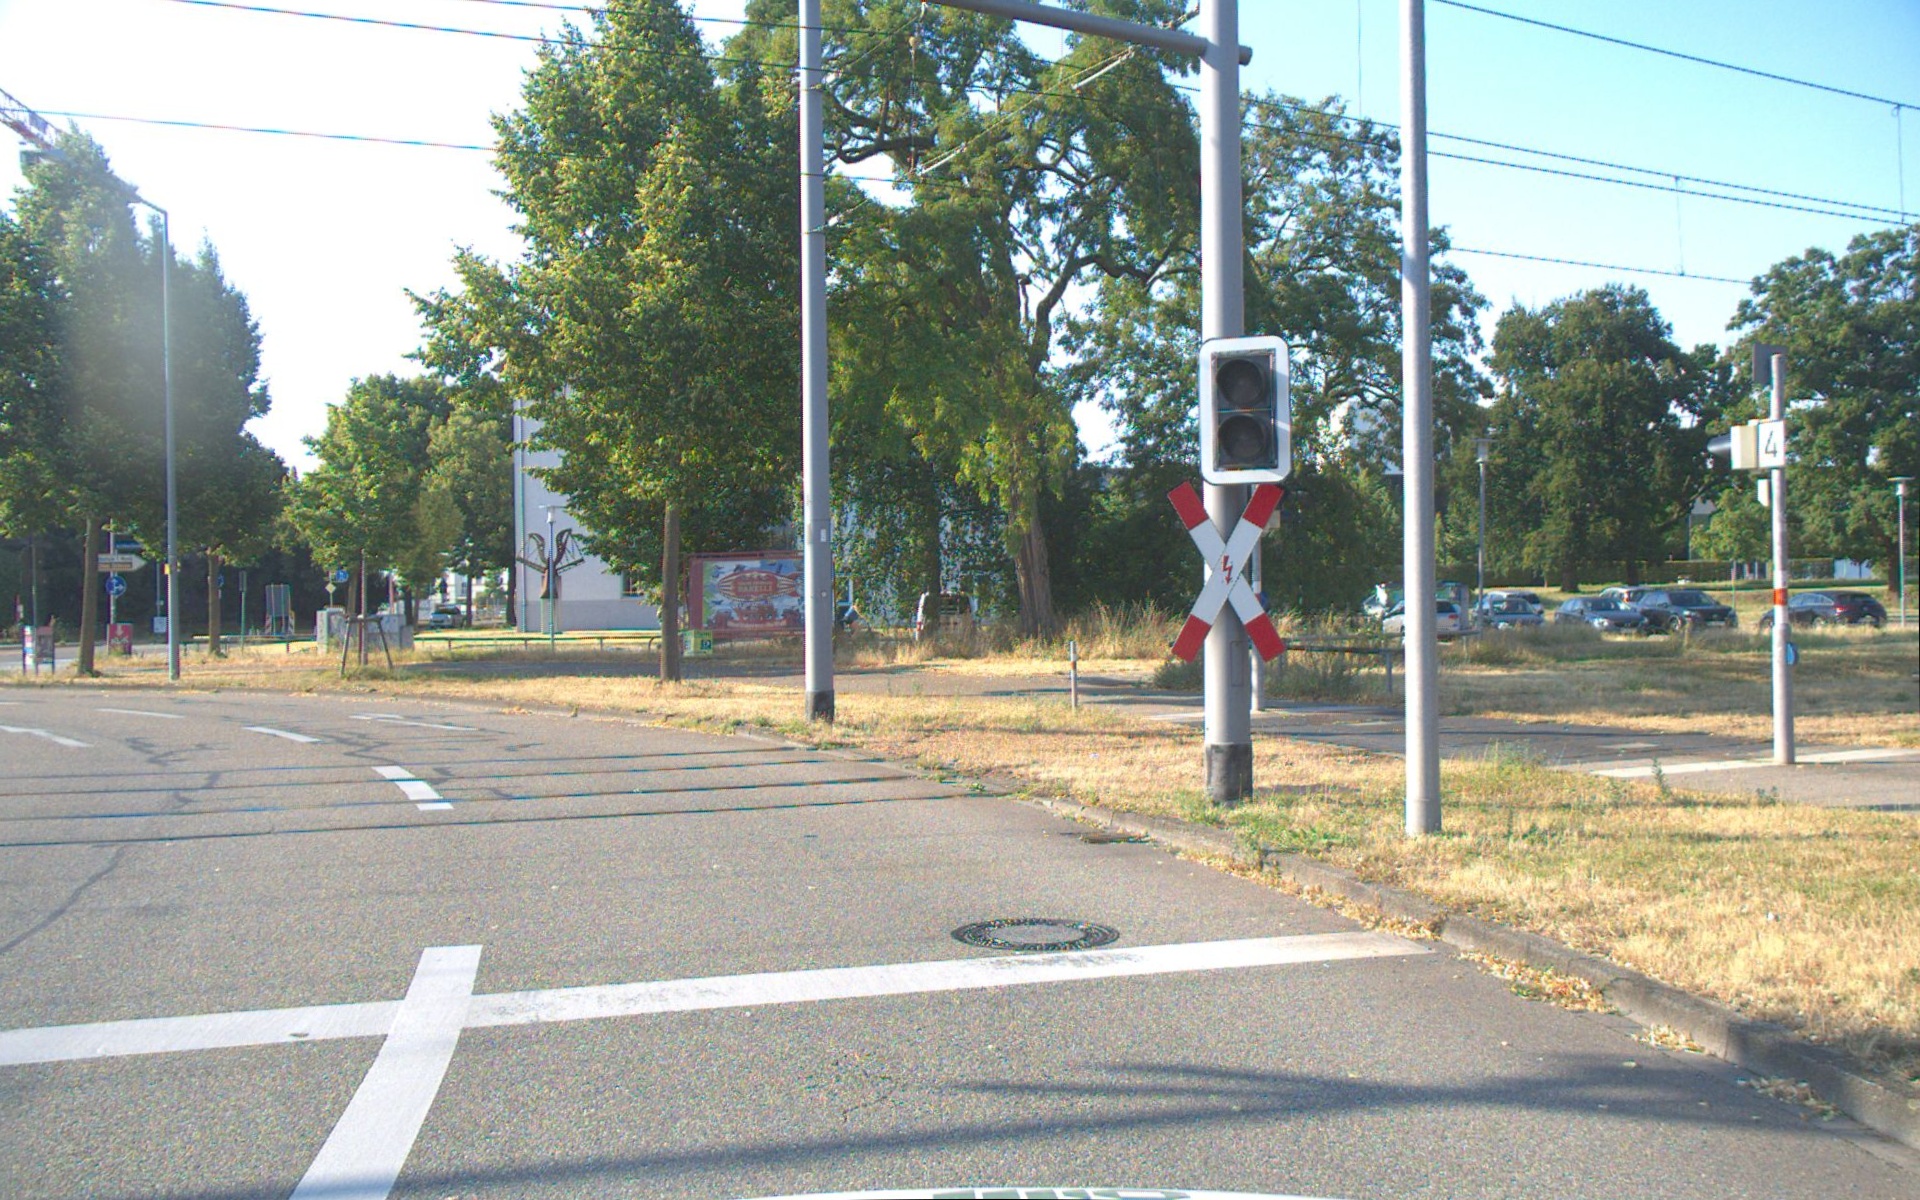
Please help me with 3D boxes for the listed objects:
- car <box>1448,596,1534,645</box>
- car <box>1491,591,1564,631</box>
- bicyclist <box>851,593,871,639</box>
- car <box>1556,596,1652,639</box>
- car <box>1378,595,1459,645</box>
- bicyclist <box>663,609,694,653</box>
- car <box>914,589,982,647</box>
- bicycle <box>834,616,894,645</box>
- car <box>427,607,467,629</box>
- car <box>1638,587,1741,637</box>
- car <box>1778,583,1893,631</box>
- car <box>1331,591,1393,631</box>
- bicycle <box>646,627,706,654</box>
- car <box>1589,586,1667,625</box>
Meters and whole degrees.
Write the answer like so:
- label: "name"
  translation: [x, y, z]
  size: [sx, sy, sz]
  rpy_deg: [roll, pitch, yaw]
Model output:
- label: "car"
  translation: [16.473, 0.627, 51.474]
  size: [1.567, 1.426, 3.970]
  rpy_deg: [-1, 0, 3]
- label: "car"
  translation: [21.139, 0.409, 61.714]
  size: [1.567, 1.426, 3.970]
  rpy_deg: [-1, 0, 3]
- label: "bicyclist"
  translation: [-3.310, 0.532, 55.262]
  size: [0.610, 1.537, 0.418]
  rpy_deg: [-1, 0, -7]
- label: "car"
  translation: [19.684, 0.516, 50.697]
  size: [1.567, 1.242, 3.970]
  rpy_deg: [-1, 0, 3]
- label: "car"
  translation: [13.962, 0.598, 50.580]
  size: [1.567, 1.426, 3.970]
  rpy_deg: [-1, 0, 3]
- label: "bicyclist"
  translation: [-9.457, 1.040, 55.519]
  size: [0.888, 1.420, 0.520]
  rpy_deg: [-1, 0, -31]
- label: "car"
  translation: [-0.316, 0.522, 49.733]
  size: [1.734, 1.646, 3.970]
  rpy_deg: [-1, 0, 3]
- label: "bicycle"
  translation: [-3.205, 1.010, 55.277]
  size: [1.949, 0.934, 0.429]
  rpy_deg: [-1, 0, -7]
- label: "car"
  translation: [-37.076, 1.299, 119.609]
  size: [1.550, 1.467, 3.554]
  rpy_deg: [-1, 0, 3]
- label: "car"
  translation: [22.088, 0.358, 50.219]
  size: [1.567, 1.426, 3.970]
  rpy_deg: [-1, 0, 3]
- label: "car"
  translation: [26.400, 0.210, 50.019]
  size: [1.567, 1.333, 3.970]
  rpy_deg: [-1, 0, 3]
- label: "car"
  translation: [15.111, 0.411, 62.349]
  size: [1.567, 1.426, 3.970]
  rpy_deg: [-1, 0, 3]
- label: "bicycle"
  translation: [-9.526, 1.355, 55.485]
  size: [1.967, 0.839, 0.425]
  rpy_deg: [-1, 0, -31]
- label: "car"
  translation: [25.441, 0.210, 63.090]
  size: [1.567, 1.426, 3.970]
  rpy_deg: [-1, 0, 3]
